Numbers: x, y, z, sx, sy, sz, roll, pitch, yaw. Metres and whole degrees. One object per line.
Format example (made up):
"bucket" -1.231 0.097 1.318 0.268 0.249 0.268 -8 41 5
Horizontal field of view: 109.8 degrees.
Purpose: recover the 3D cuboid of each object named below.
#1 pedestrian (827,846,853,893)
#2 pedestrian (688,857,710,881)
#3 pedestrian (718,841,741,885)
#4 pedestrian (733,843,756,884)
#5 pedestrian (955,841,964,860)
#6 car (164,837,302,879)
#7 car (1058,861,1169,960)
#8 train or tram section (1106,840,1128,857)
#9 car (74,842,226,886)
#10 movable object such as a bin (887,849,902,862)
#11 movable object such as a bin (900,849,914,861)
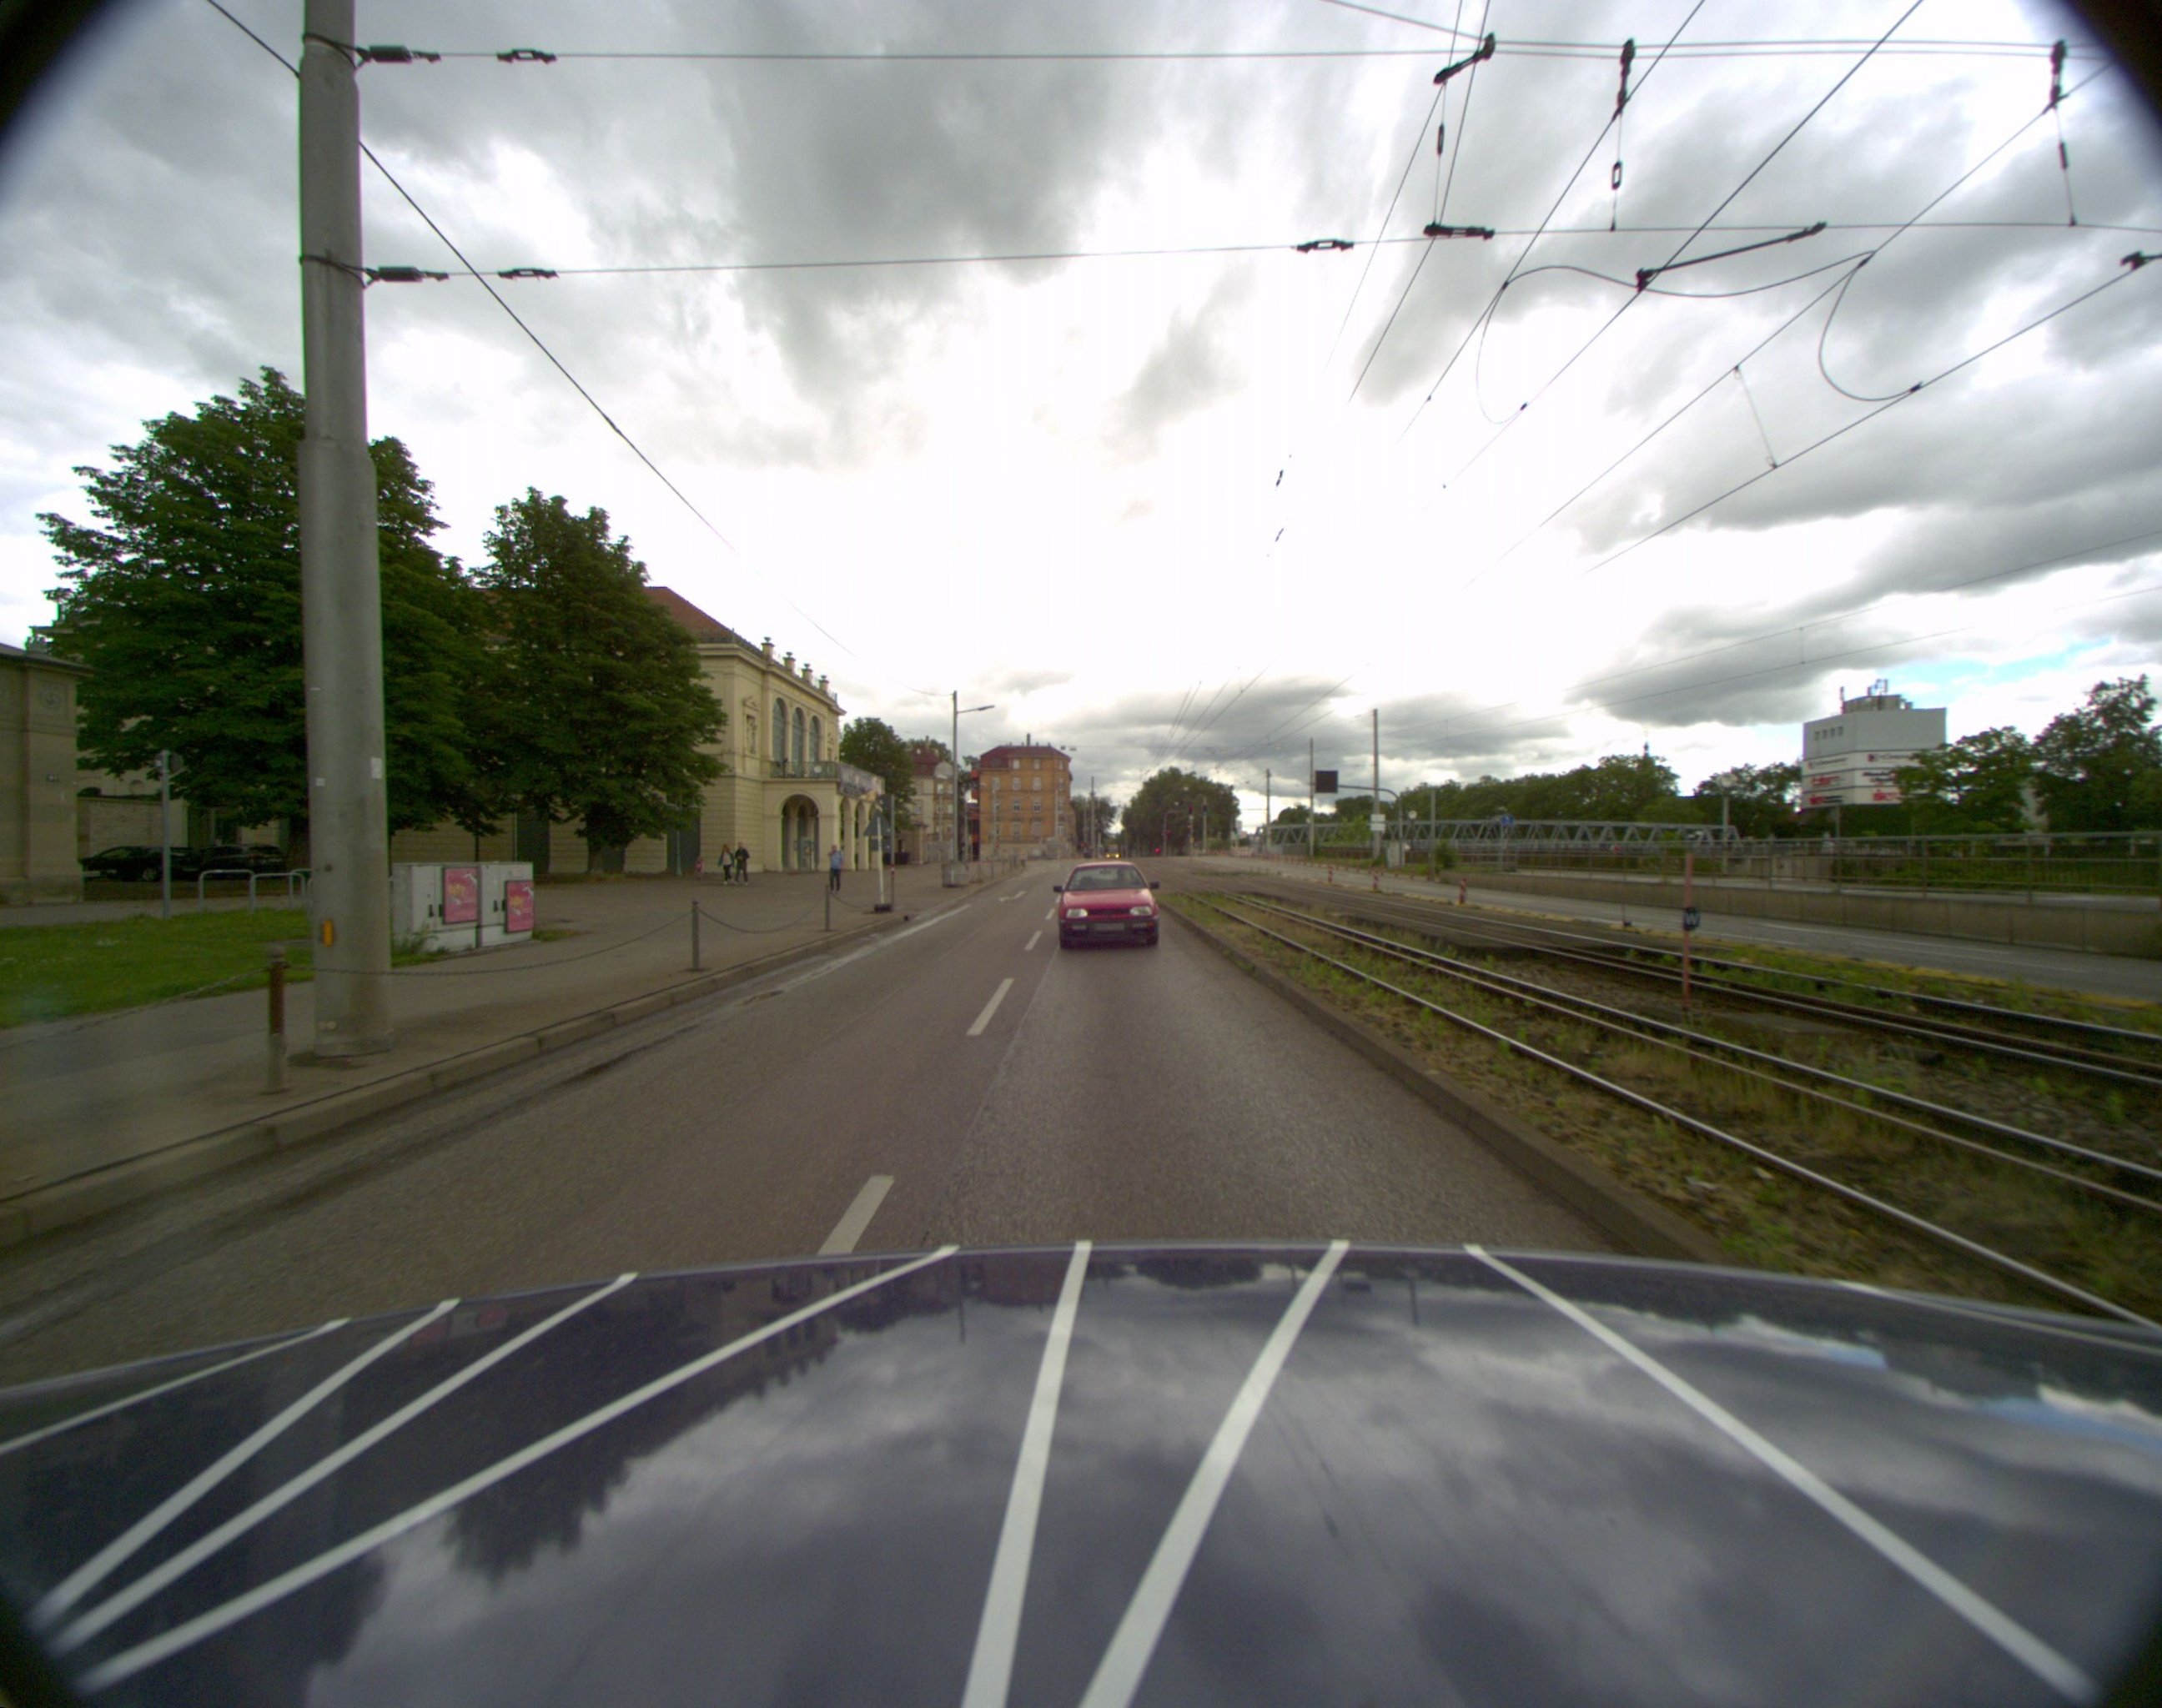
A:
"pedestrian" -9.066 0.568 28.581 0.672 1.758 0.936 0 1 1
"pedestrian" -16.518 0.635 32.838 0.760 0.995 0.595 0 1 -34
"pedestrian" -14.538 0.374 31.442 0.596 1.782 0.808 0 1 1
"pedestrian" -13.891 0.390 31.388 0.598 1.689 0.790 0 1 1
"pedestrian" -11.514 -0.331 71.803 0.672 1.758 0.936 0 1 1
"car" -36.708 0.166 32.976 3.787 1.641 1.900 -2 1 1
"car" 0.524 0.899 13.967 1.681 1.434 4.119 -2 0 0
"train or tram section" 7.772 -1.326 166.160 3.739 3.346 17.551 1 1 0
"car" -37.085 0.368 30.344 3.648 1.559 1.900 -2 1 1
"movable object such as a bin" -21.057 0.159 85.899 1.297 1.398 1.379 0 1 0
"movable object such as a bin" -19.691 0.121 86.001 1.297 1.361 1.379 0 1 0
